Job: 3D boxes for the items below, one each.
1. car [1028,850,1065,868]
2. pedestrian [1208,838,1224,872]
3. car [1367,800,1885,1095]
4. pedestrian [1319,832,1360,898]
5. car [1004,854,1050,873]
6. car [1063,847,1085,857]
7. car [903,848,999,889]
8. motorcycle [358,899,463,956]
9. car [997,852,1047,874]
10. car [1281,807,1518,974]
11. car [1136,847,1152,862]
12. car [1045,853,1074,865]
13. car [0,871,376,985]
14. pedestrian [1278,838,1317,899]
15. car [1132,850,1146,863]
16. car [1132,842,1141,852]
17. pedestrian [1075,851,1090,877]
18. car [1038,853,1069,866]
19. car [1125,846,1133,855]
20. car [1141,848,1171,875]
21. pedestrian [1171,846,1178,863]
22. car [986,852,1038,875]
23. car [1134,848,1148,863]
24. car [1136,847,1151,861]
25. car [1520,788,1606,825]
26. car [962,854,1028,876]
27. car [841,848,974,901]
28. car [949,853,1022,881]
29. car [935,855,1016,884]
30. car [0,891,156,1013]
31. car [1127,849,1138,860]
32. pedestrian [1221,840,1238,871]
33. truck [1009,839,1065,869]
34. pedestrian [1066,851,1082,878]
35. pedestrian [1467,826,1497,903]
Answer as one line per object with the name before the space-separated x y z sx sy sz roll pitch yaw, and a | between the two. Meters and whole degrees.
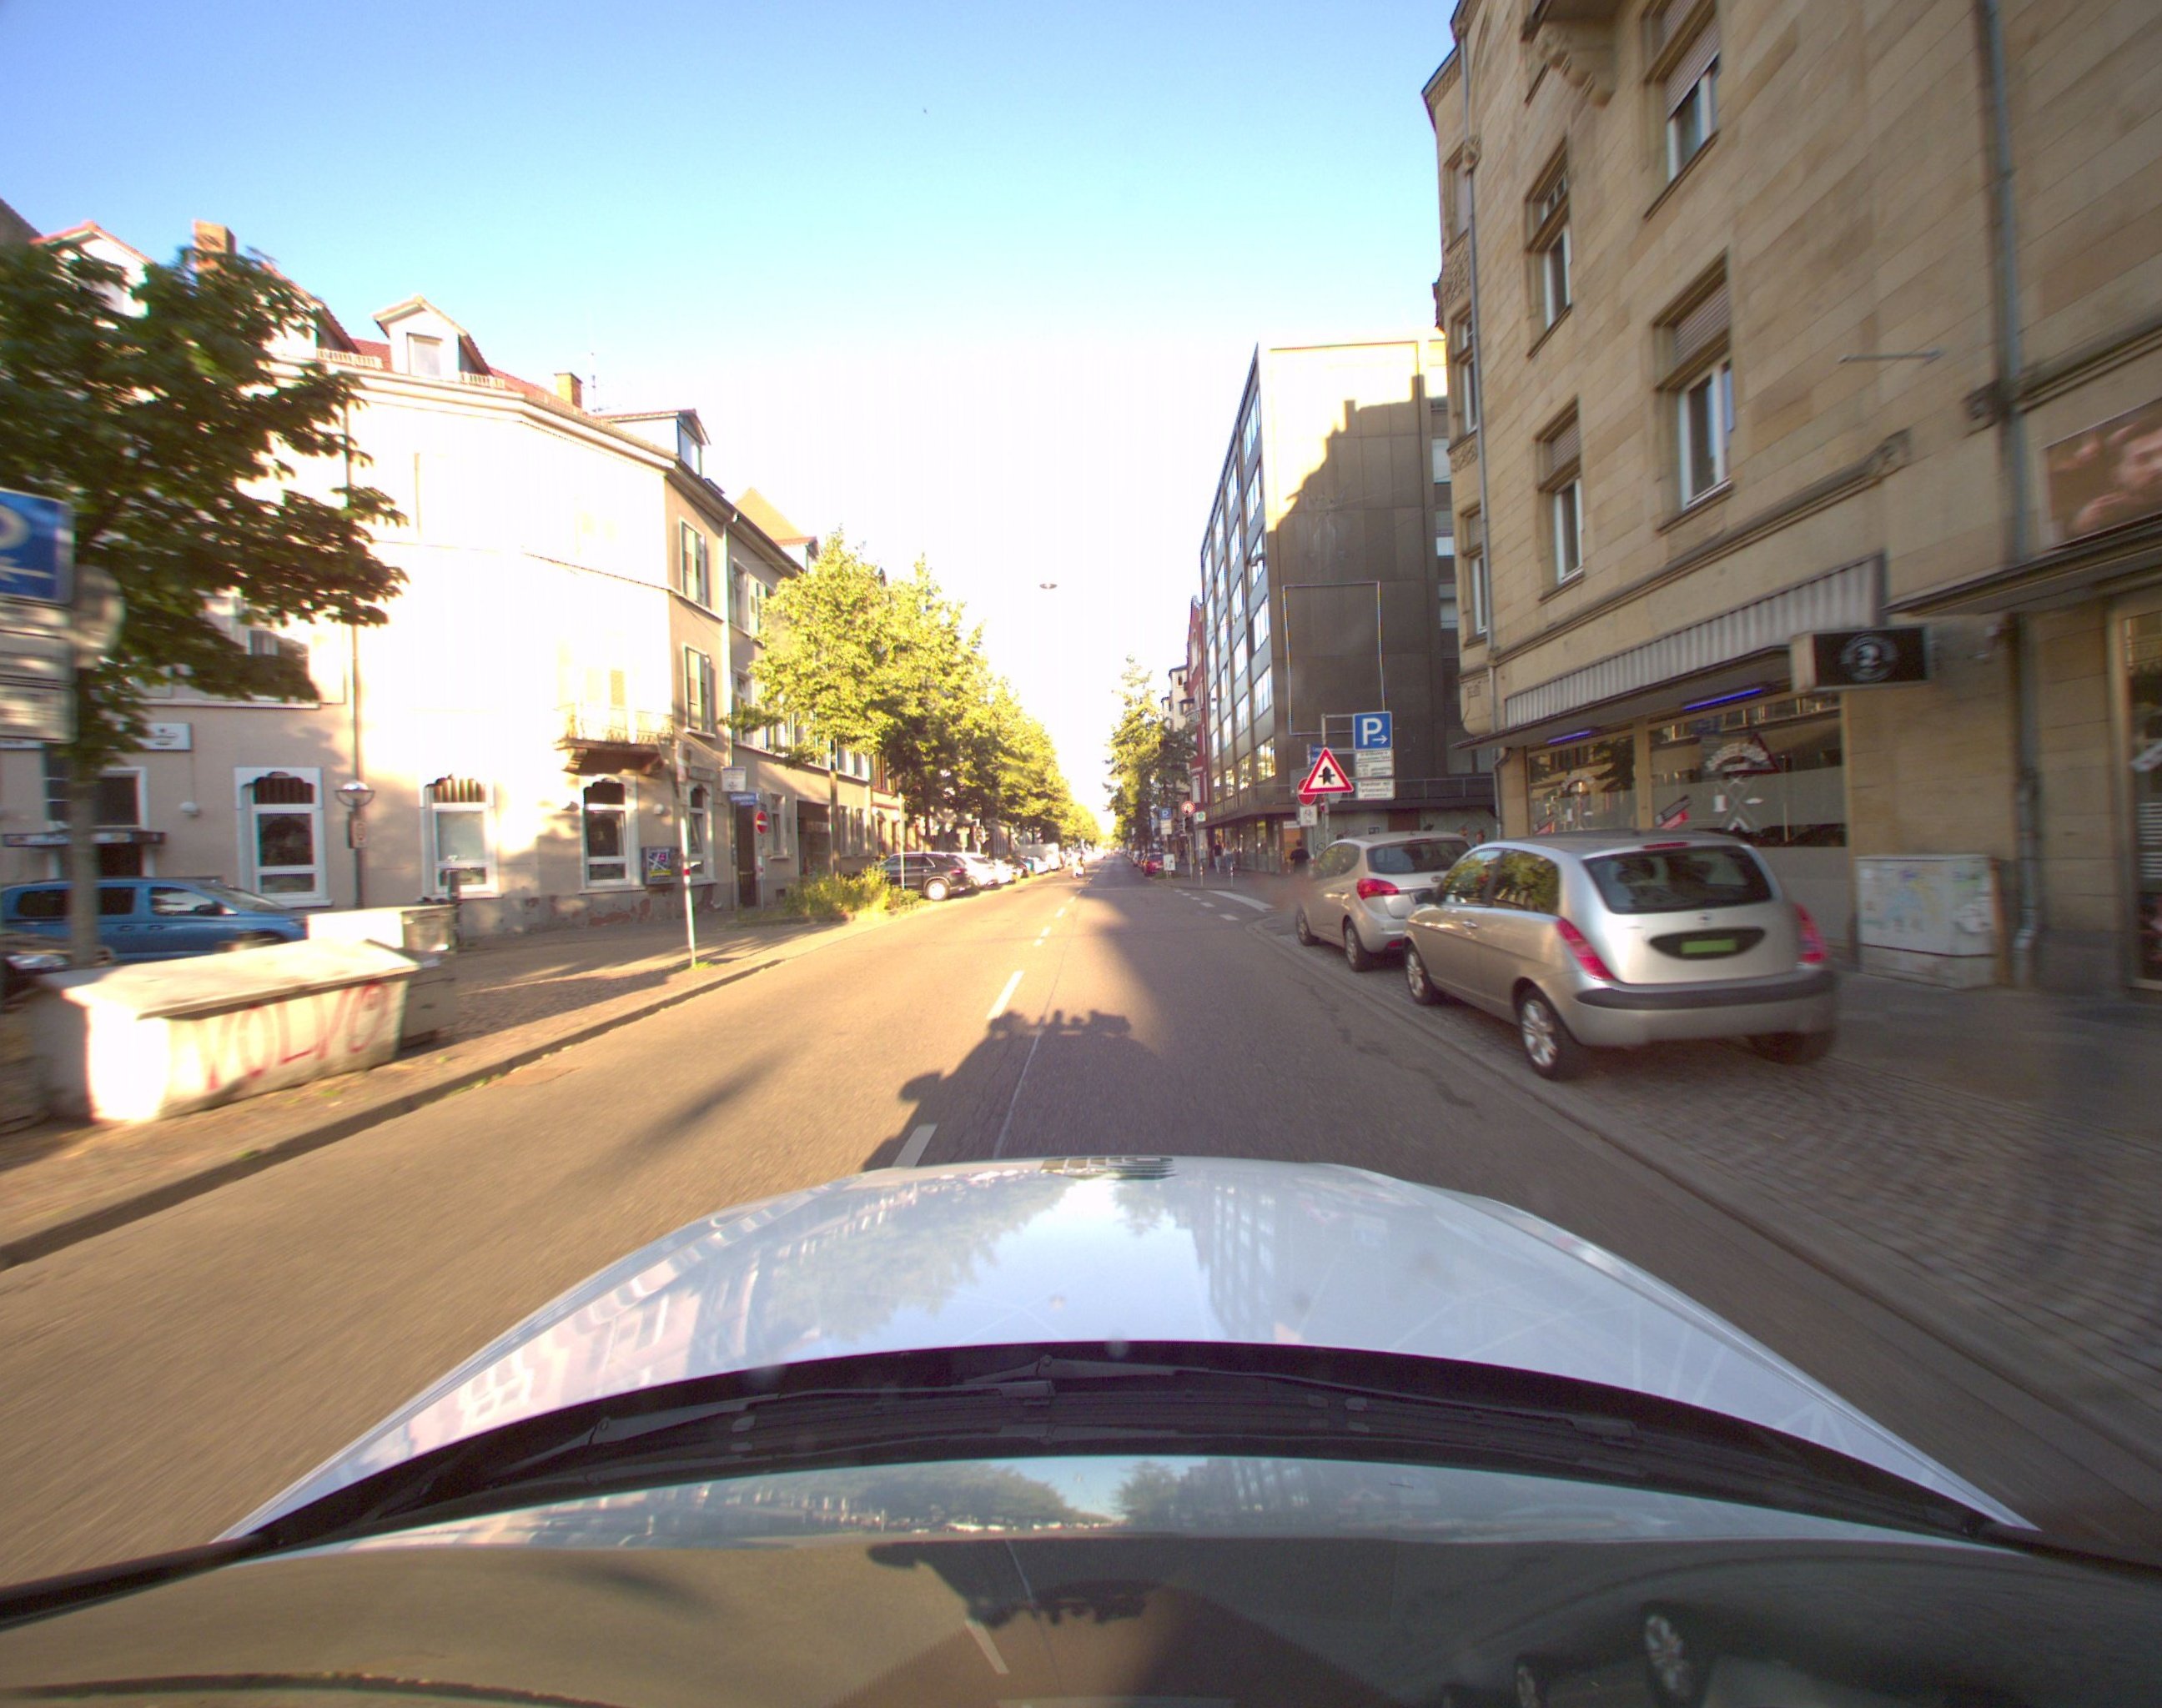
car | -3.655 0.514 87.131 3.725 1.858 2.001 -1 1 1
pedestrian | 7.662 0.050 46.154 0.712 1.865 0.680 -3 0 -1
car | 3.740 0.504 6.560 1.672 1.561 4.006 -4 1 5
pedestrian | 7.133 0.281 22.536 0.752 1.767 1.223 -1 0 1
car | -4.604 0.821 70.034 3.725 1.449 2.001 -2 0 1
car | -1.190 -0.307 142.978 3.725 1.708 2.001 -1 1 1
car | -5.806 0.635 36.762 3.975 1.708 1.834 -1 1 1
motorcycle | -13.654 1.469 16.579 2.073 1.031 0.751 -1 1 23
car | -4.670 0.763 65.069 3.725 1.596 2.000 -2 -2 1
car | 4.011 0.381 11.010 1.690 1.769 4.002 -2 1 2
car | 5.809 0.033 75.151 1.202 1.300 2.660 -1 0 0
car | -2.864 0.649 109.215 3.725 1.492 2.001 -2 0 1
car | -16.344 1.260 15.157 4.439 1.677 1.945 -2 1 -24
pedestrian | 5.990 0.386 22.628 0.752 1.640 1.259 -1 0 1
car | 6.087 0.295 85.403 1.202 1.300 2.660 -1 0 0
car | 9.266 -1.129 137.023 1.305 1.600 2.660 -1 -1 0
pedestrian | 0.098 0.633 53.067 0.727 1.683 0.749 0 0 -38
car | -3.514 0.705 104.532 3.725 1.449 2.001 -2 0 1
car | 9.320 -0.638 157.795 1.305 1.600 2.660 -1 -1 0
car | 4.871 0.488 53.295 1.572 1.542 3.396 -4 0 0
pedestrian | 8.786 0.068 76.517 0.531 1.622 0.534 -1 0 2
car | -5.224 0.702 62.247 3.725 1.642 2.001 -1 1 1
car | 6.825 0.182 92.495 1.305 1.600 2.660 -1 -1 0
car | 5.972 0.034 78.120 1.202 1.300 2.660 -1 0 0
car | 22.420 -2.214 37.873 3.487 1.615 1.613 -1 1 -20
car | -6.010 0.767 57.437 4.410 1.503 2.001 0 0 1
car | -6.345 0.746 30.156 4.432 1.835 2.034 -1 -1 1
car | -6.107 0.837 52.495 4.410 1.599 2.001 -2 0 1
car | -5.790 0.859 44.999 4.159 1.507 2.001 -1 0 1
car | -14.577 1.268 10.196 3.527 1.381 1.694 -1 1 -22
car | 7.327 0.064 116.379 1.305 1.600 2.660 -1 -1 0
pedestrian | 8.437 0.086 46.335 0.763 1.689 0.786 -3 0 0
truck | -4.097 0.027 76.368 4.922 2.615 2.001 -2 0 1
pedestrian | -0.457 0.666 51.923 0.720 1.673 0.702 -1 0 -38
pedestrian | 8.911 0.225 18.101 0.419 1.666 0.588 -1 0 10
